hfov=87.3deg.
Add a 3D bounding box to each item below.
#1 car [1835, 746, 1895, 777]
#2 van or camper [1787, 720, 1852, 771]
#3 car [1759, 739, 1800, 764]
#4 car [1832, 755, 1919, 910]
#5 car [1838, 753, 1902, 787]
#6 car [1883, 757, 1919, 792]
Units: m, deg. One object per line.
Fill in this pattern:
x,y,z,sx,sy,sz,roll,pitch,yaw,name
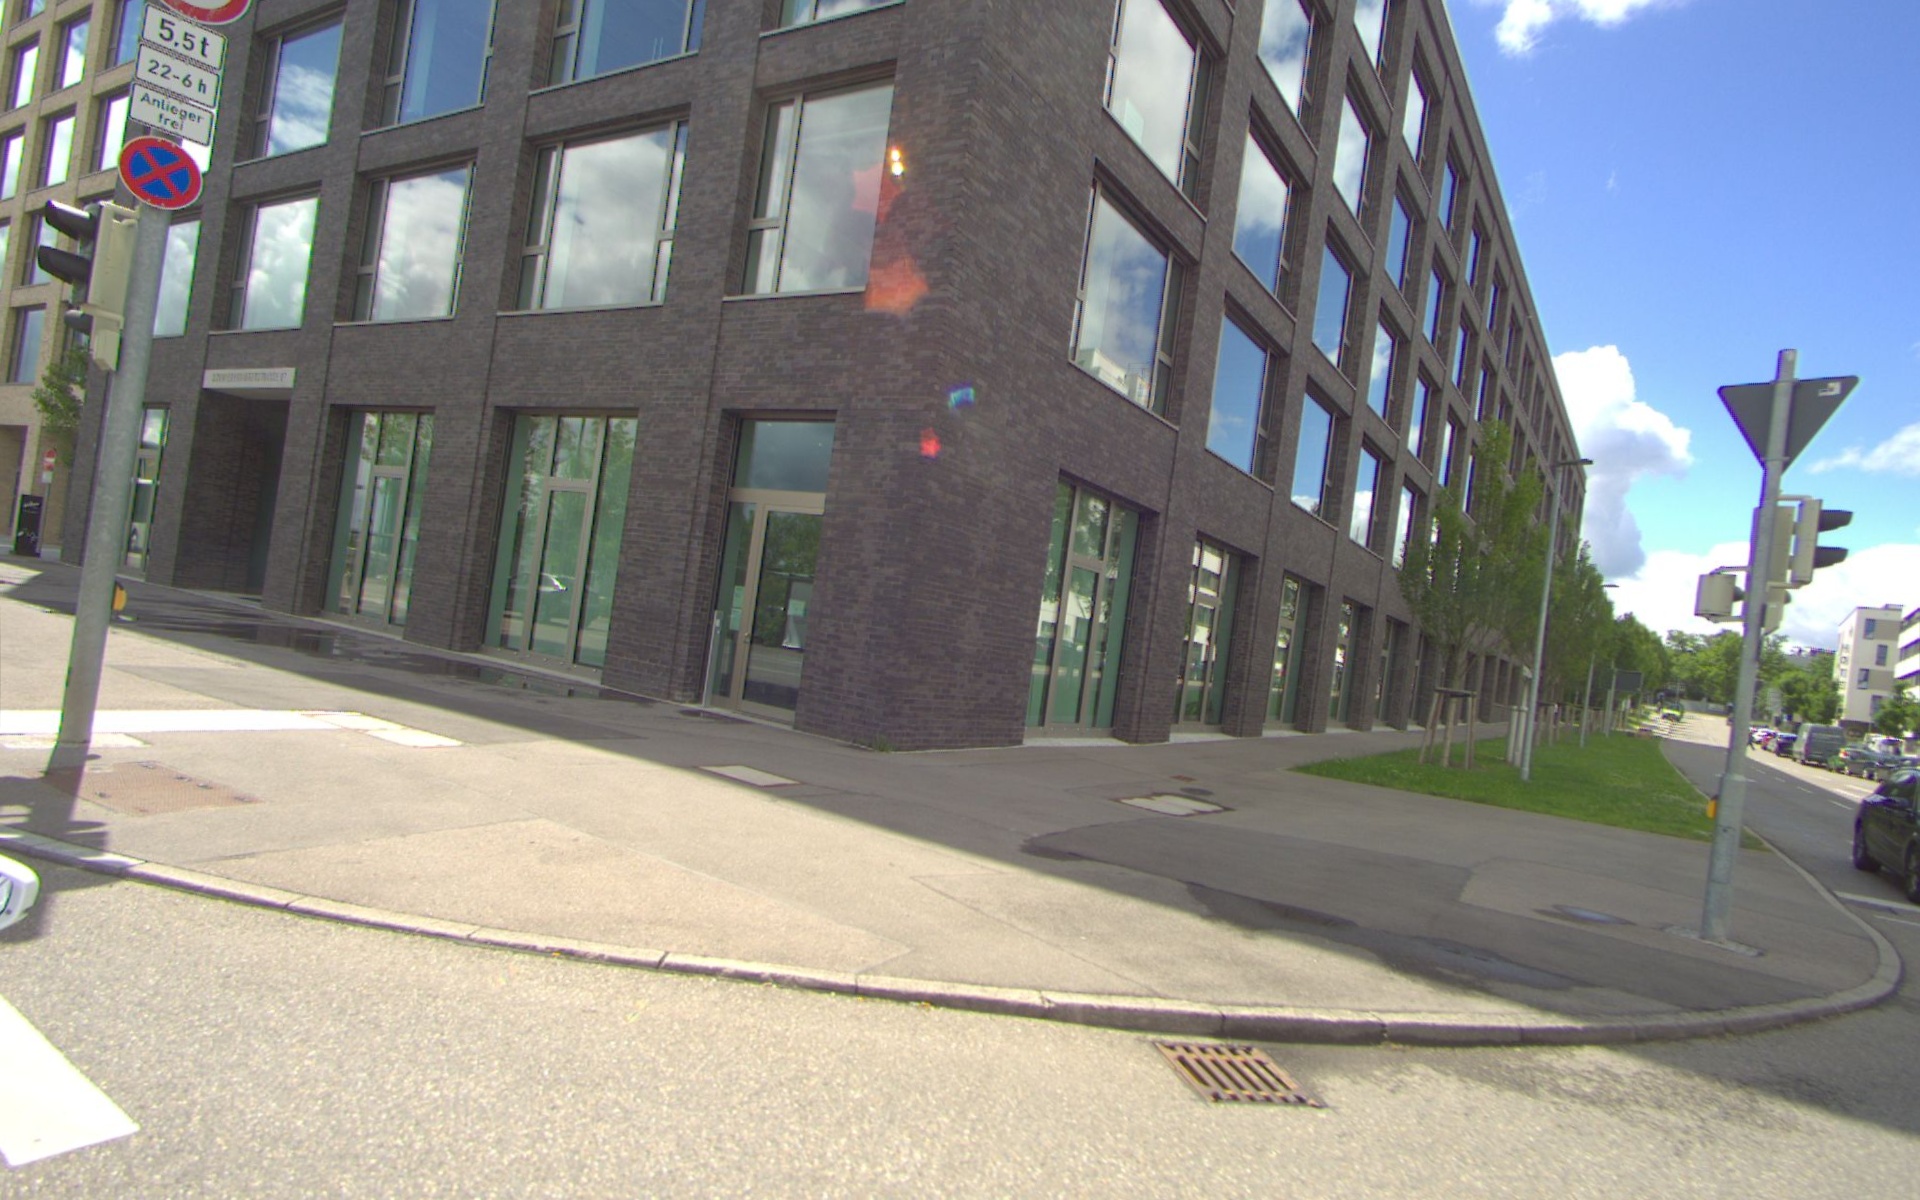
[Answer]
49.758,8.879,55.361,1.471,1.354,3.538,7,-3,28,car
54.012,9.087,63.335,1.966,2.769,5.117,7,-1,31,van or camper
58.954,10.901,72.428,1.471,1.355,3.536,7,-2,28,car
12.168,2.824,11.909,1.967,1.509,4.532,6,-2,32,car
46.810,8.704,51.822,1.471,1.354,3.538,7,-3,28,car
42.814,7.863,44.820,1.471,1.354,3.538,7,-3,28,car
